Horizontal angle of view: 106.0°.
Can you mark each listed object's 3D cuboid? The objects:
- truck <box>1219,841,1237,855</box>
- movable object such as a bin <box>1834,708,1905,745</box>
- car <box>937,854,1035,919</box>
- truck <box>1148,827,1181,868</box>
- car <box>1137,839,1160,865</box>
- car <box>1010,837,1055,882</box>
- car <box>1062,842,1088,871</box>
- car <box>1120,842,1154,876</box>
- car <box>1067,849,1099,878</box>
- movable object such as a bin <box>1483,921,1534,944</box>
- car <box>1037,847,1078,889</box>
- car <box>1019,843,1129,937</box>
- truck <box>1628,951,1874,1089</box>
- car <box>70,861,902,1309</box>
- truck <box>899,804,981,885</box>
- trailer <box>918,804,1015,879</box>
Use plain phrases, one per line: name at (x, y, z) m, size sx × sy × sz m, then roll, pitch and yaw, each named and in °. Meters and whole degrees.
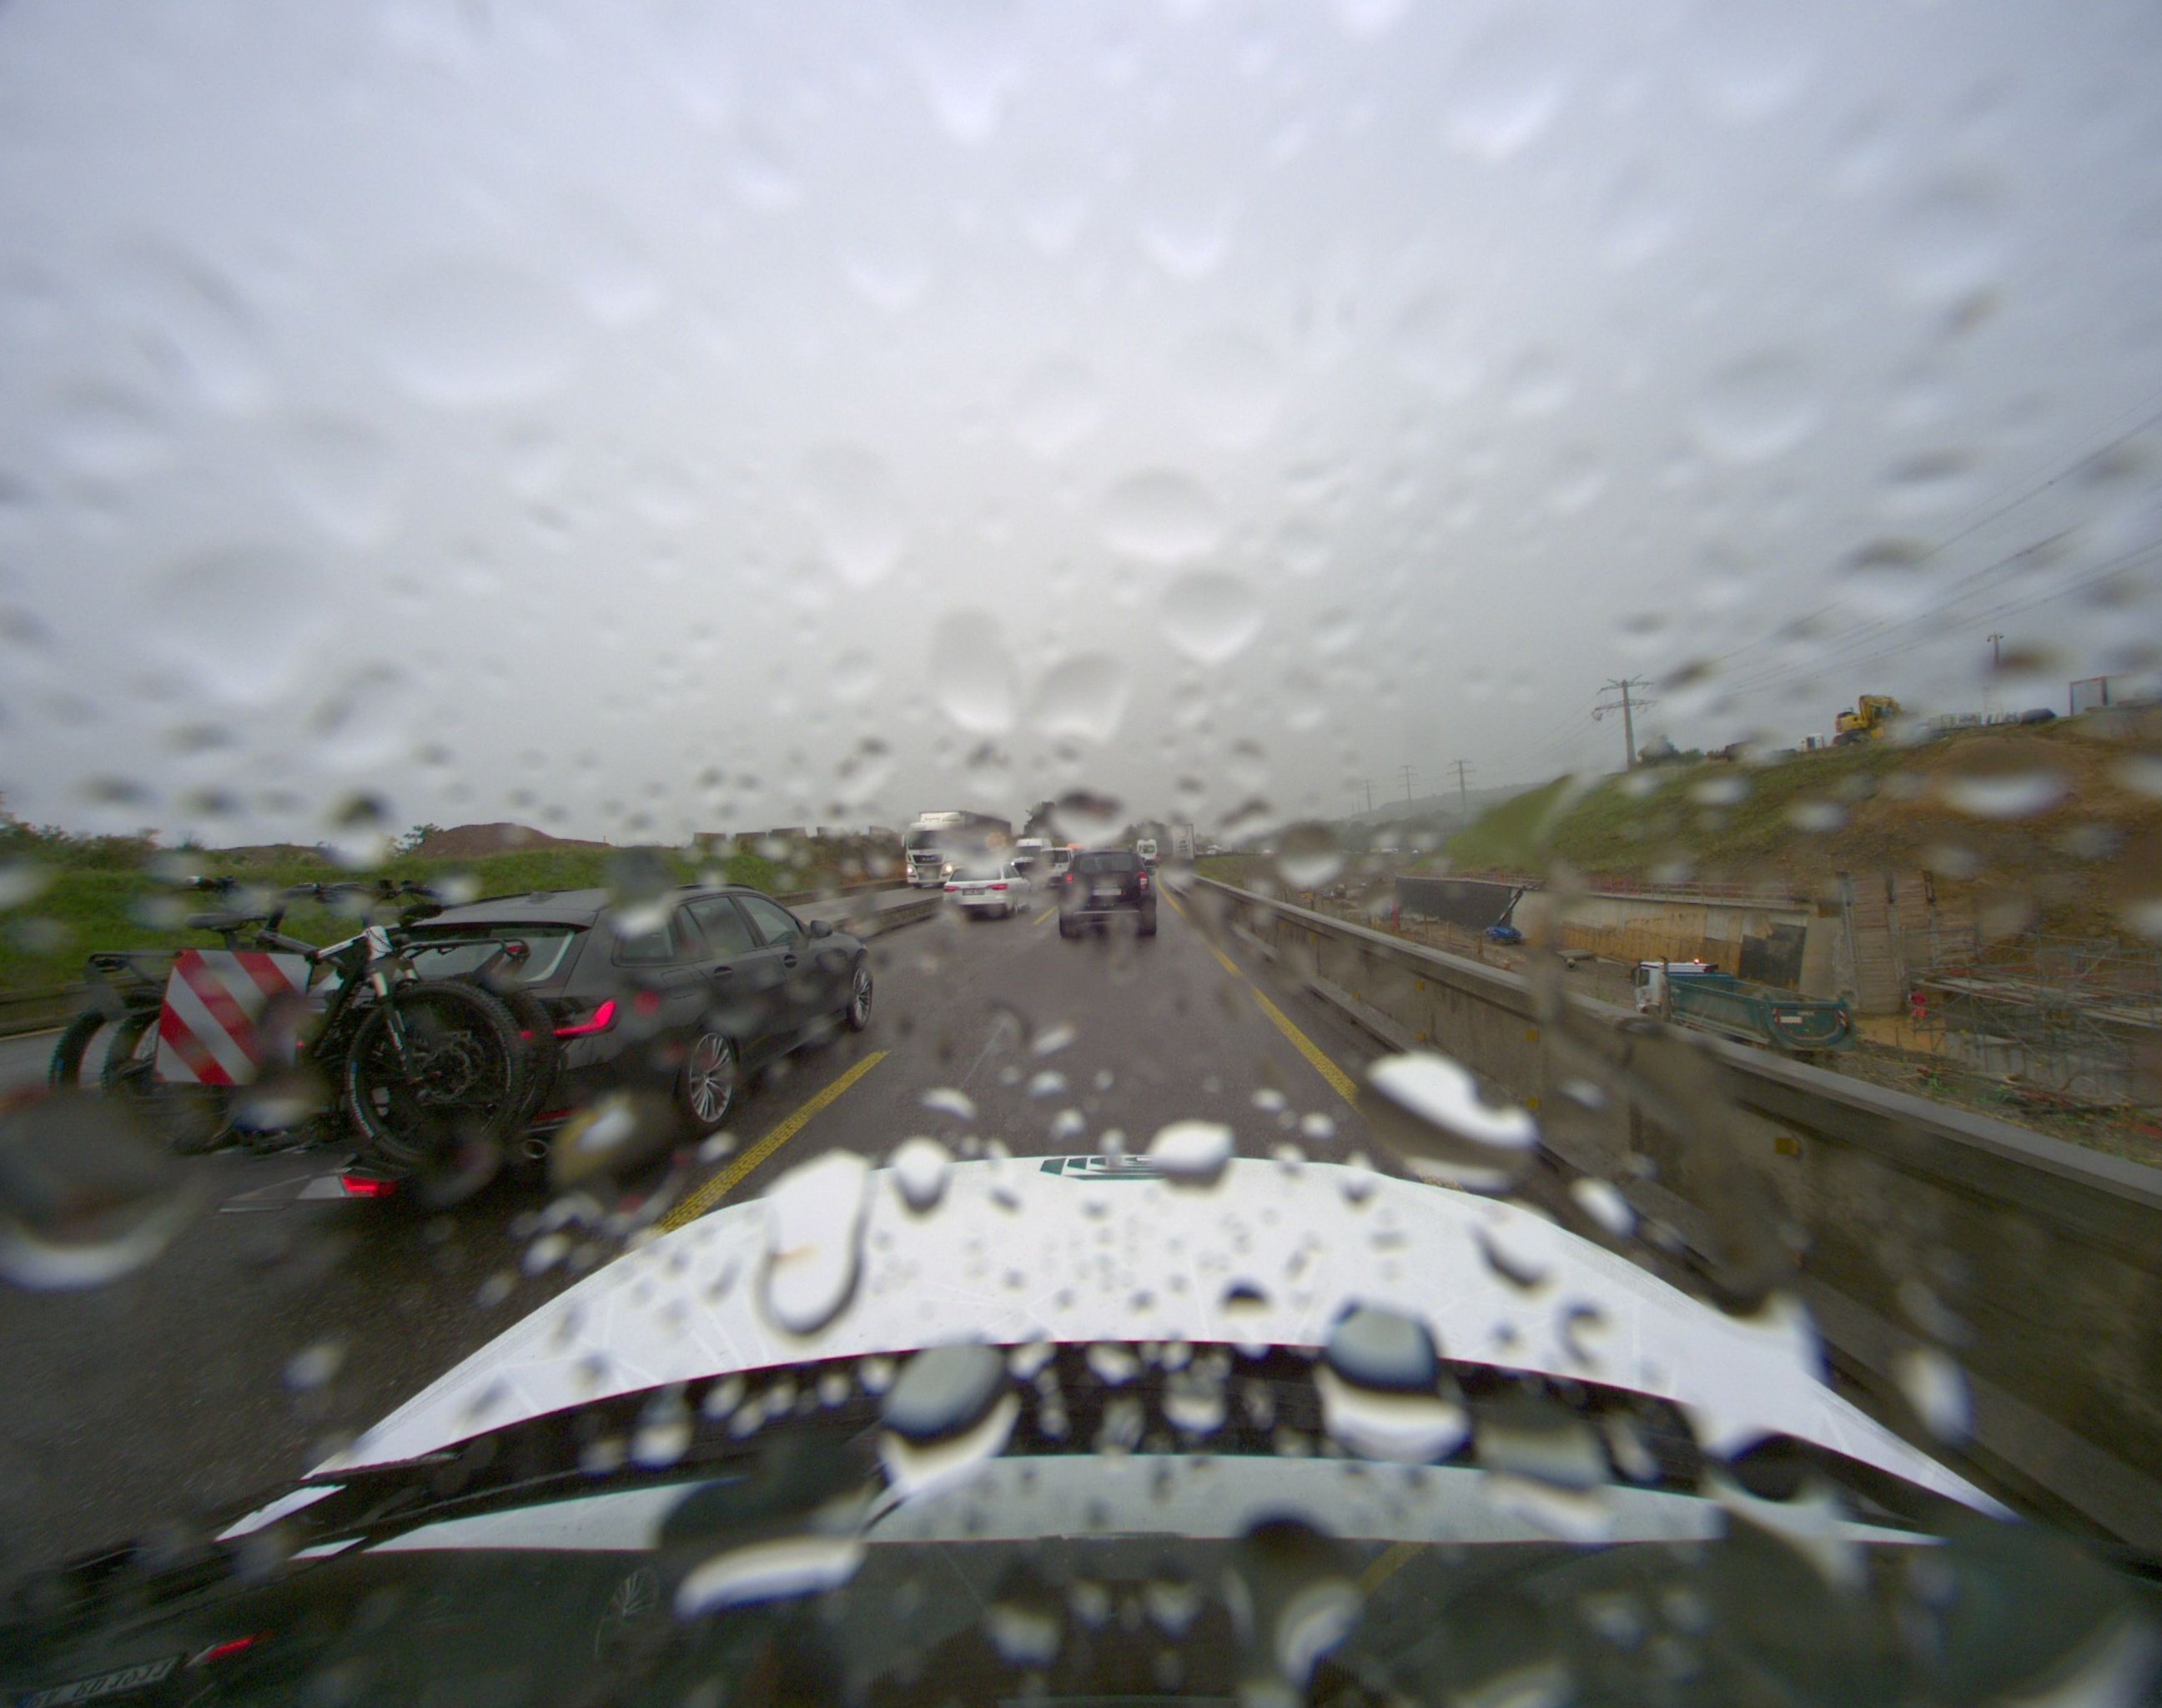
truck at (40.755, -1.700, 225.373) m, size 3.444 × 3.715 × 8.457 m, roll -3°, pitch 0°, yaw 18°
movable object such as a bin at (65.134, -10.517, 67.340) m, size 2.414 × 2.443 × 3.980 m, roll -2°, pitch 1°, yaw 10°
car at (-2.377, 0.802, 21.437) m, size 1.818 × 1.499 × 4.004 m, roll -2°, pitch -1°, yaw 4°
truck at (11.358, -0.794, 109.956) m, size 3.522 × 5.077 × 10.470 m, roll -2°, pitch -1°, yaw 10°
car at (6.758, -0.212, 80.809) m, size 1.815 × 2.437 × 4.169 m, roll -2°, pitch -1°, yaw 10°
car at (-3.092, 0.290, 53.289) m, size 1.997 × 2.653 × 6.891 m, roll -2°, pitch 1°, yaw 4°
car at (-0.485, 0.200, 77.662) m, size 2.045 × 2.577 × 7.026 m, roll -2°, pitch 0°, yaw 3°
car at (3.271, 0.299, 47.043) m, size 1.817 × 1.815 × 4.006 m, roll -2°, pitch -1°, yaw 6°
car at (0.158, 0.627, 54.629) m, size 1.818 × 1.815 × 4.005 m, roll -2°, pitch -1°, yaw 4°
movable object such as a bin at (41.471, 7.585, 79.074) m, size 2.008 × 2.014 × 3.800 m, roll 2°, pitch -4°, yaw -34°
car at (-1.074, 0.642, 38.597) m, size 1.821 × 1.815 × 3.998 m, roll -2°, pitch -1°, yaw -1°
car at (-0.004, 0.649, 16.126) m, size 1.818 × 1.591 × 4.004 m, roll -2°, pitch -1°, yaw 4°
truck at (24.898, 5.955, 31.104) m, size 2.715 × 3.491 × 9.082 m, roll -2°, pitch -1°, yaw 7°
car at (-2.886, 0.912, 5.921) m, size 1.728 × 1.462 × 5.632 m, roll -2°, pitch 1°, yaw 2°
truck at (-7.498, -0.516, 44.065) m, size 2.774 × 4.034 × 5.829 m, roll -2°, pitch 1°, yaw 6°
trailer at (-6.819, -0.772, 51.290) m, size 2.766 × 4.034 × 13.763 m, roll -2°, pitch 1°, yaw 6°
